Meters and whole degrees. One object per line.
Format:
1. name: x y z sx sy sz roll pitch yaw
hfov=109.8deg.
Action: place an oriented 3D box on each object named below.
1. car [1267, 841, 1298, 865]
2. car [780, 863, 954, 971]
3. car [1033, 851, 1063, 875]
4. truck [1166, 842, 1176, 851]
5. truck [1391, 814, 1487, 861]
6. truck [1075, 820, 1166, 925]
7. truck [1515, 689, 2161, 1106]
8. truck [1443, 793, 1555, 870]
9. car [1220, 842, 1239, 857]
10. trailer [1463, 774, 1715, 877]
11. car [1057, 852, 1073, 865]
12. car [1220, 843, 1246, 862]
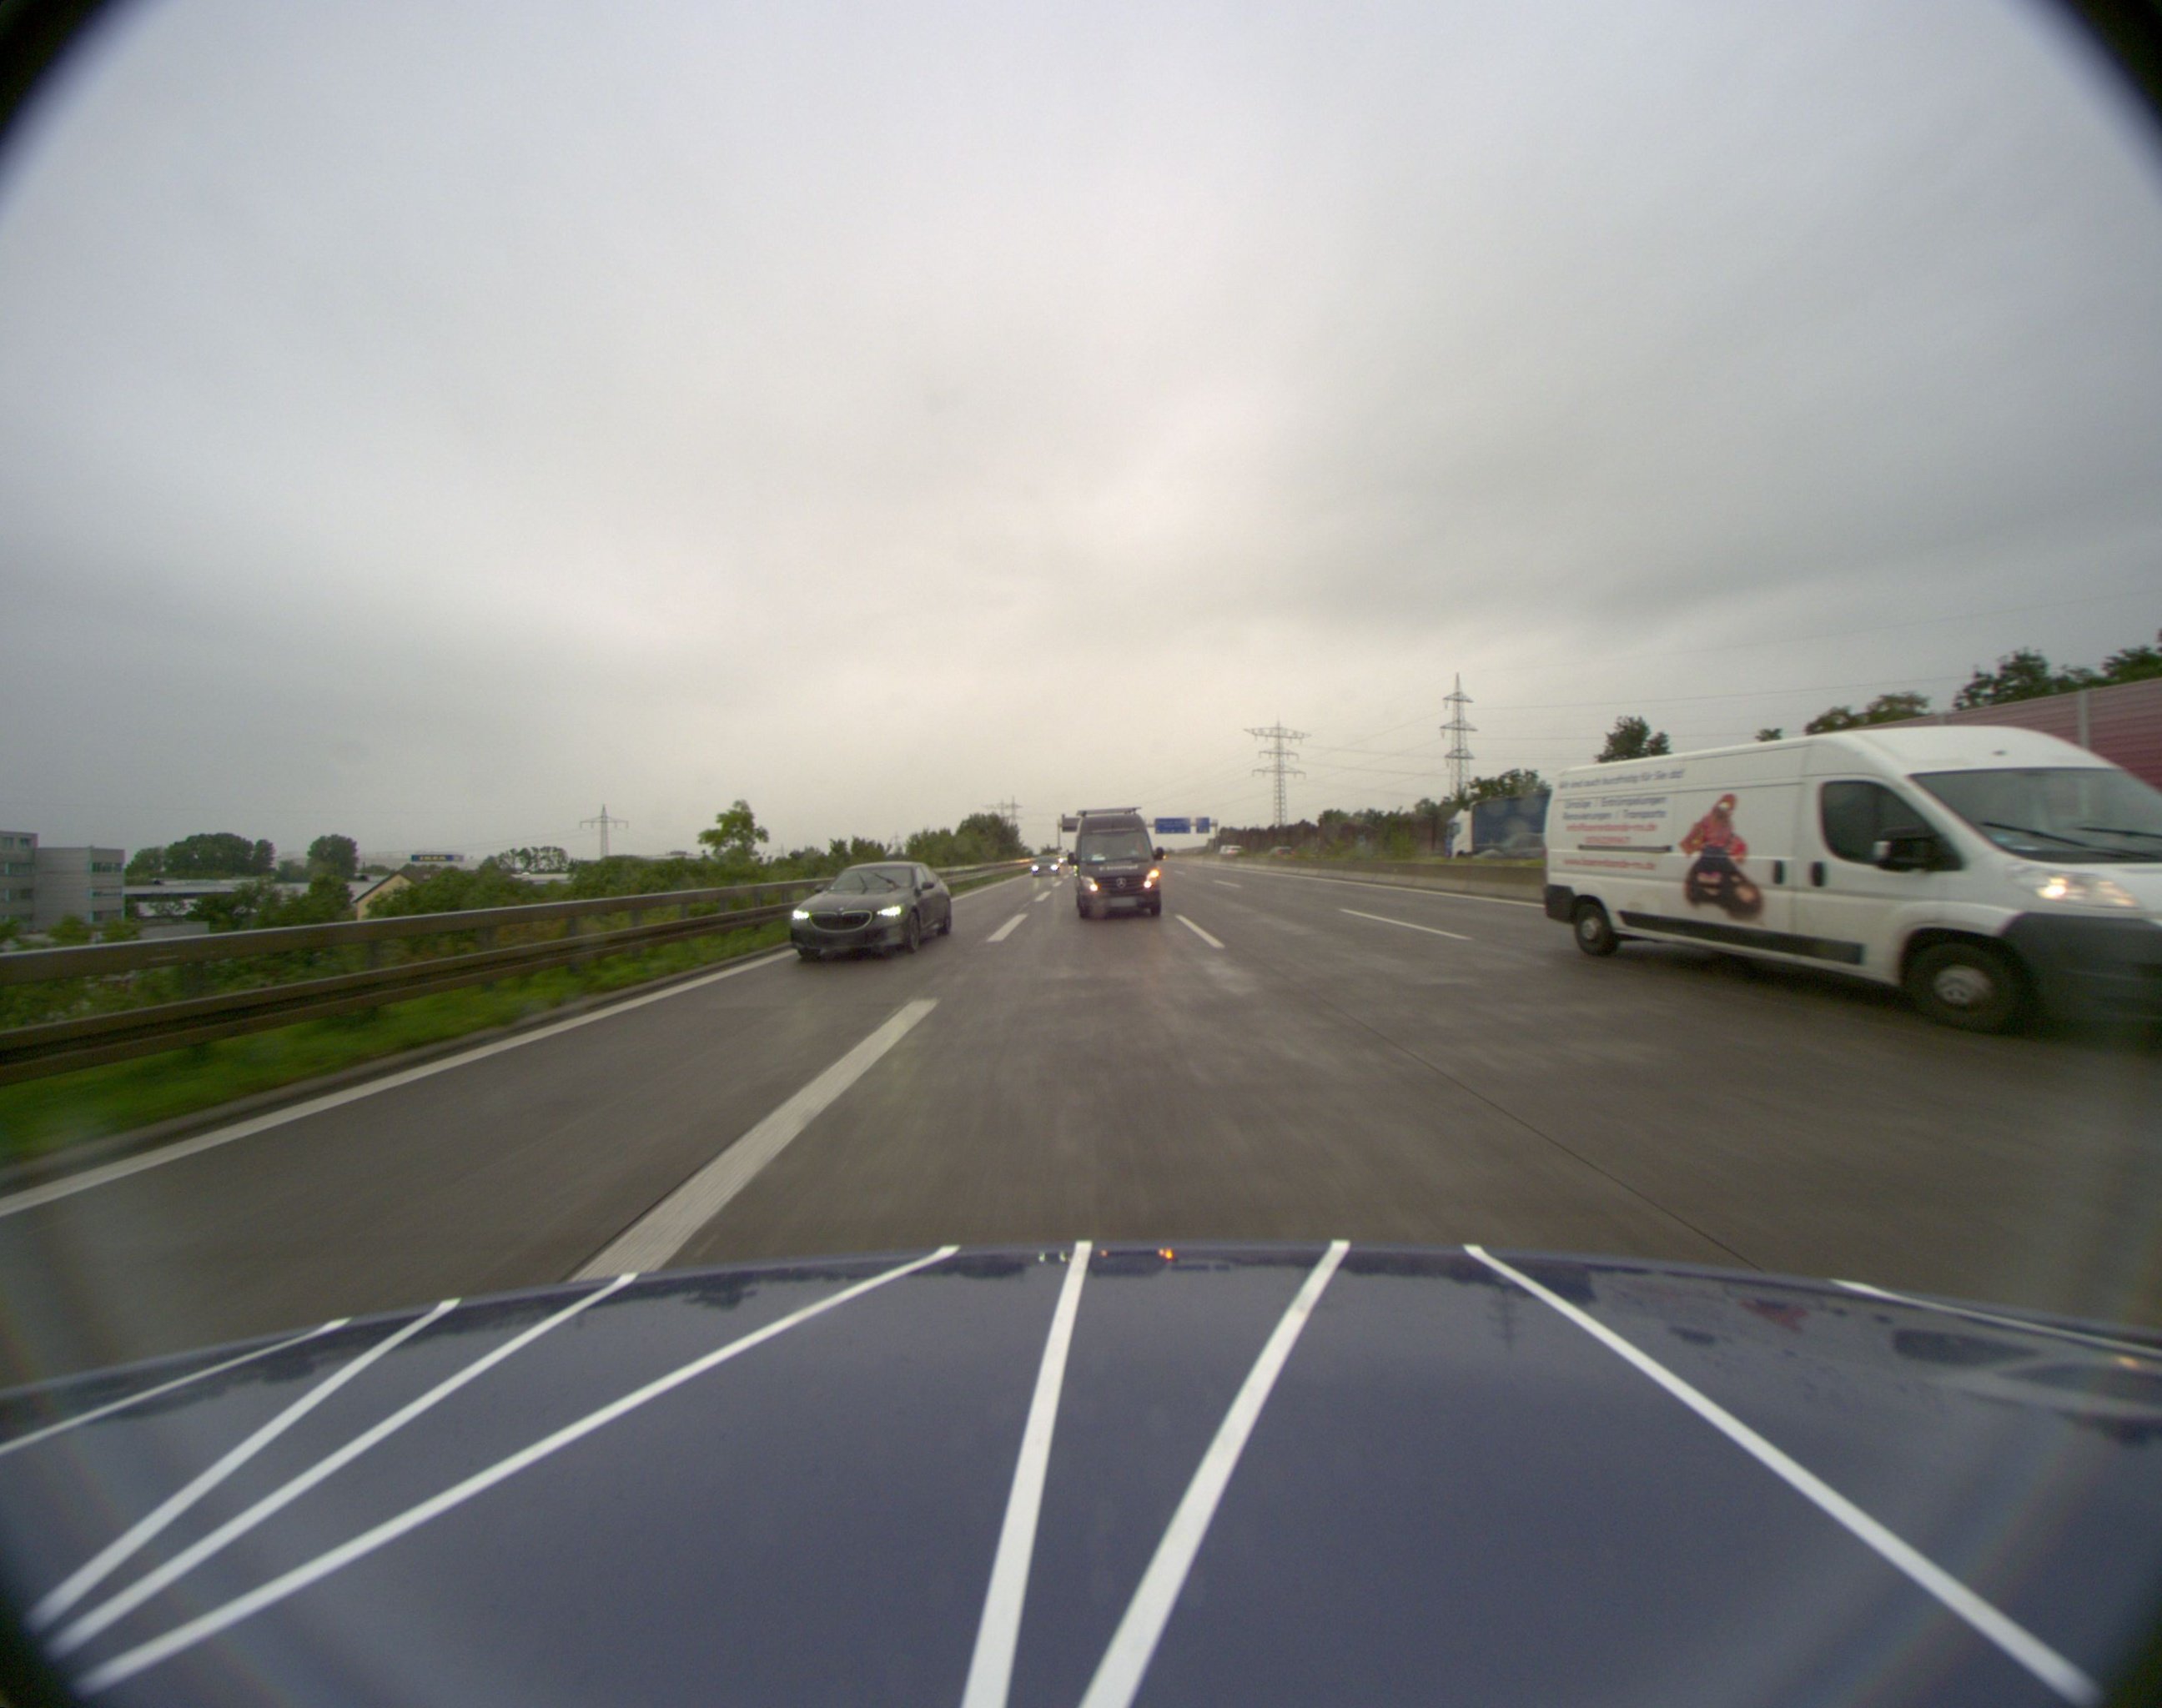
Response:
1. car: 18.215 -0.100 68.807 1.722 2.002 4.238 -3 0 1
2. car: -3.608 0.985 13.669 1.862 1.531 4.203 -3 0 0
3. car: -2.444 0.652 56.699 1.998 1.706 4.000 0 0 1
4. truck: 24.142 -2.020 204.114 2.150 2.193 5.419 -2 1 2
5. truck: 28.167 -1.234 60.442 2.719 3.331 10.431 -3 0 1
6. truck: 0.873 0.392 20.269 1.999 2.324 6.110 -2 1 -1
7. truck: 7.460 0.192 7.678 2.243 2.464 6.582 -3 0 0
8. truck: 24.073 -1.224 44.154 3.054 4.004 6.051 -3 0 1
9. car: 22.270 -0.678 114.139 1.998 2.002 5.133 -2 0 2
10. trailer: 23.990 -1.184 37.639 3.053 4.004 14.125 -3 0 1
11. car: -2.090 0.535 99.951 1.998 1.706 4.000 0 0 1
12. car: 17.658 -0.207 88.380 1.998 2.002 4.791 -2 0 1
